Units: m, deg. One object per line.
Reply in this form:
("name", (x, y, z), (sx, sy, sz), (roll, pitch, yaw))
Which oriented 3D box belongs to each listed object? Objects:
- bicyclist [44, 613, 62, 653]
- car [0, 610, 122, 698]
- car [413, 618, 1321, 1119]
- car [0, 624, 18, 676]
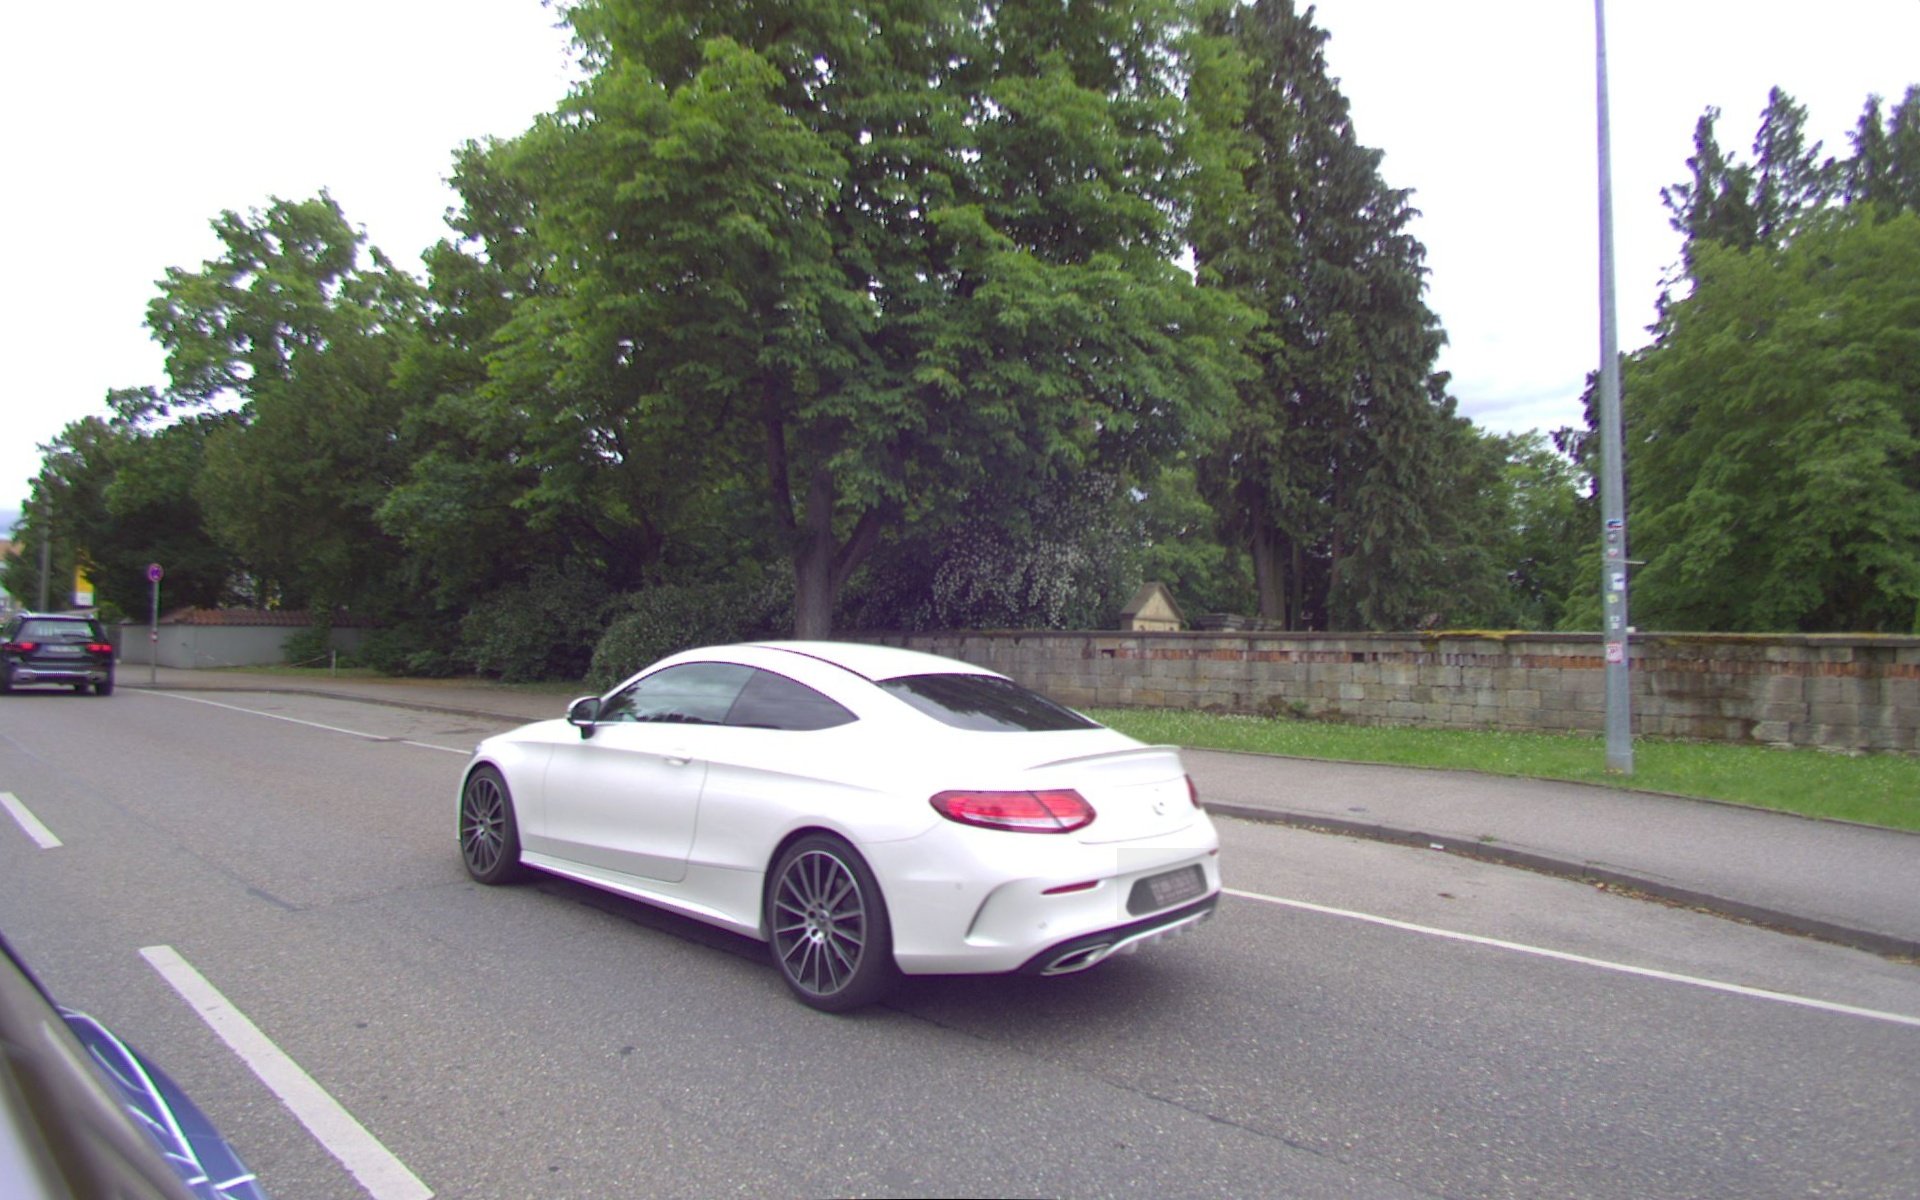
("bicyclist", (-39.288, 1.431, 43.831), (0.588, 1.697, 0.482), (-1, 0, 41))
("car", (-19.155, 1.105, 21.102), (4.126, 1.657, 1.860), (-1, -5, 41))
("car", (-0.870, 0.872, 5.218), (4.826, 1.430, 1.795), (-1, -5, 41))
("car", (-29.499, 1.427, 30.133), (3.998, 1.495, 1.683), (-1, -4, 41))
